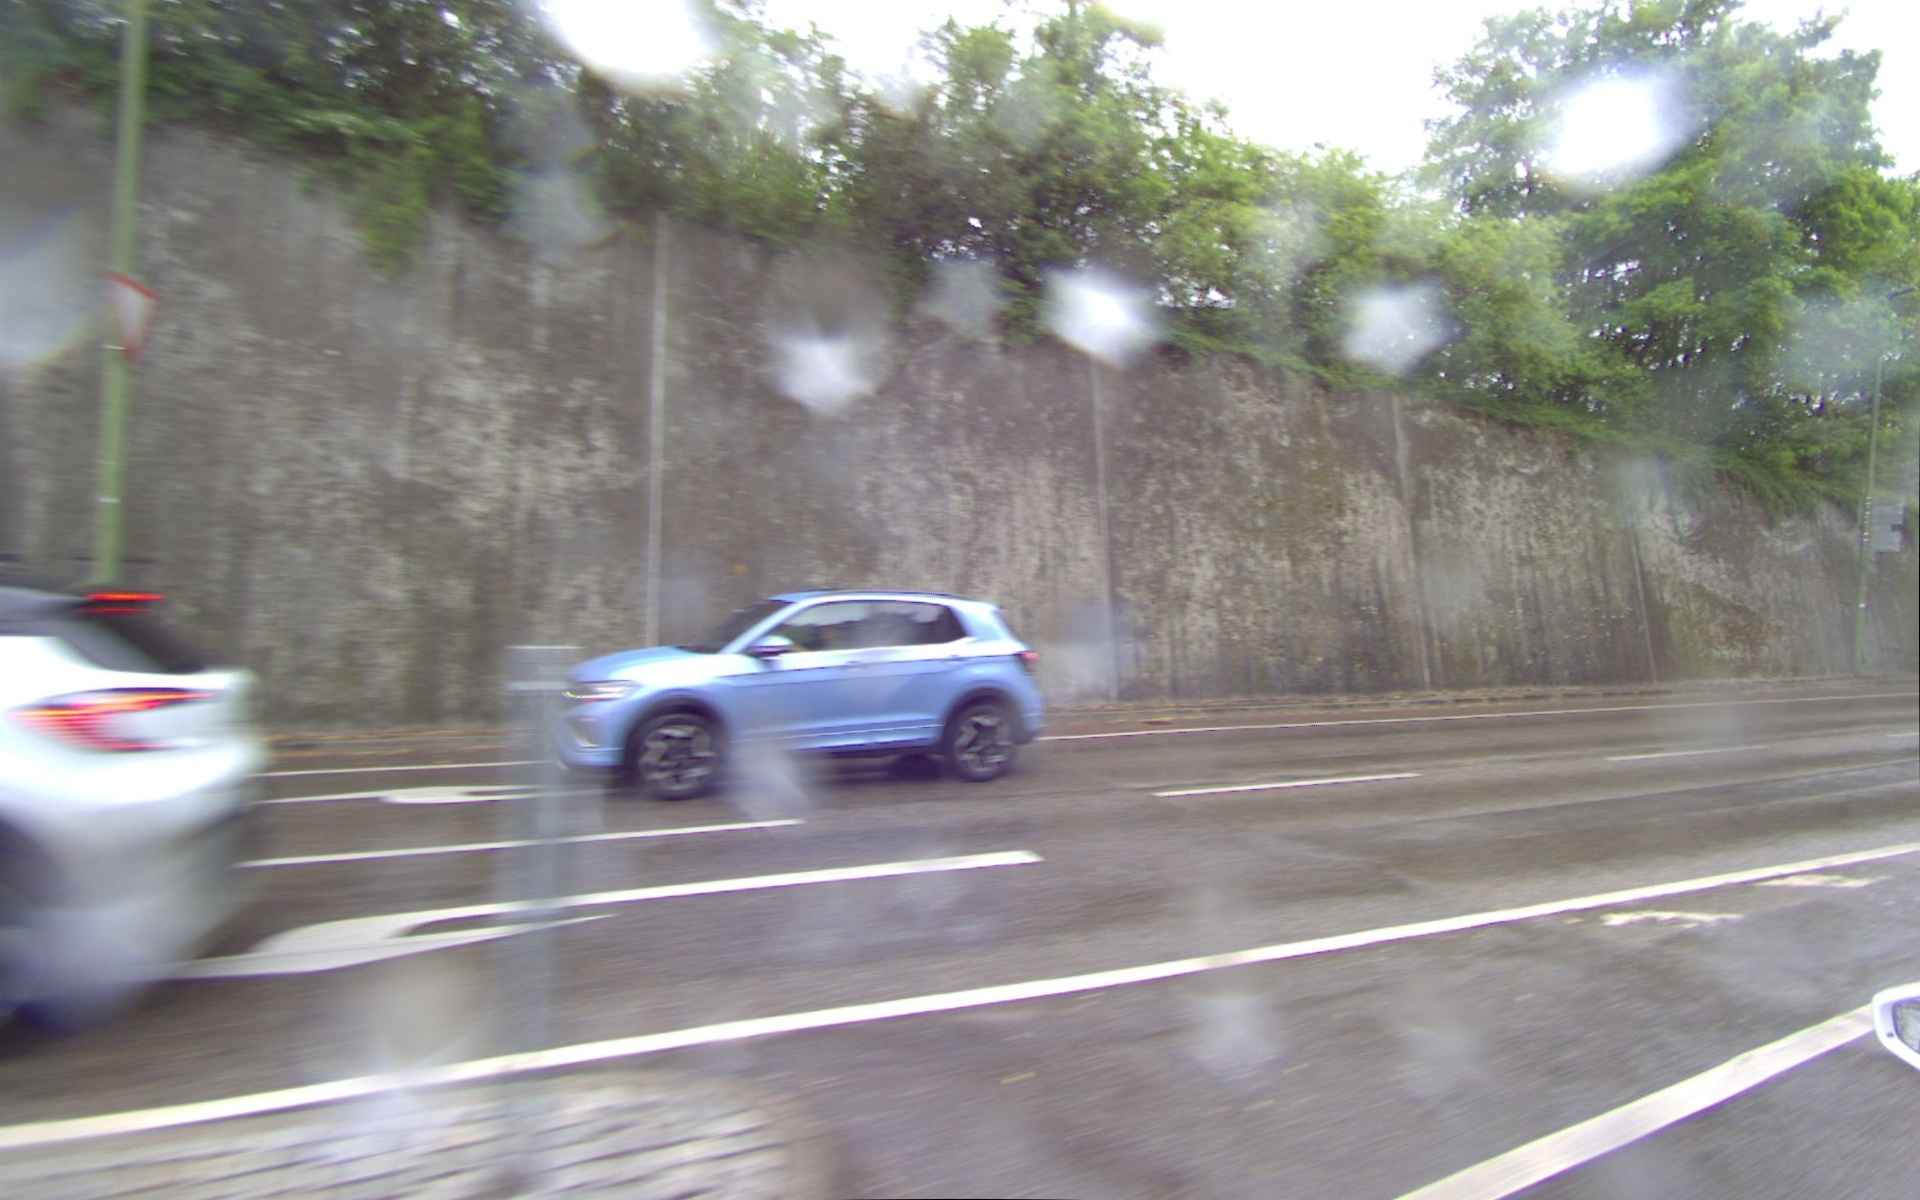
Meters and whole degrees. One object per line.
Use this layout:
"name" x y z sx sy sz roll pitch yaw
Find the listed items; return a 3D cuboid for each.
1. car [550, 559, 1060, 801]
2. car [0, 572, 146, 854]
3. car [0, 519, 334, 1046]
"car" -1.322 0.669 8.651 3.995 1.679 1.810 2 -3 -25
"car" -7.660 0.573 5.402 4.664 1.522 1.989 2 -3 -24
"car" -4.537 0.530 3.334 3.948 1.622 1.862 2 -1 -27
